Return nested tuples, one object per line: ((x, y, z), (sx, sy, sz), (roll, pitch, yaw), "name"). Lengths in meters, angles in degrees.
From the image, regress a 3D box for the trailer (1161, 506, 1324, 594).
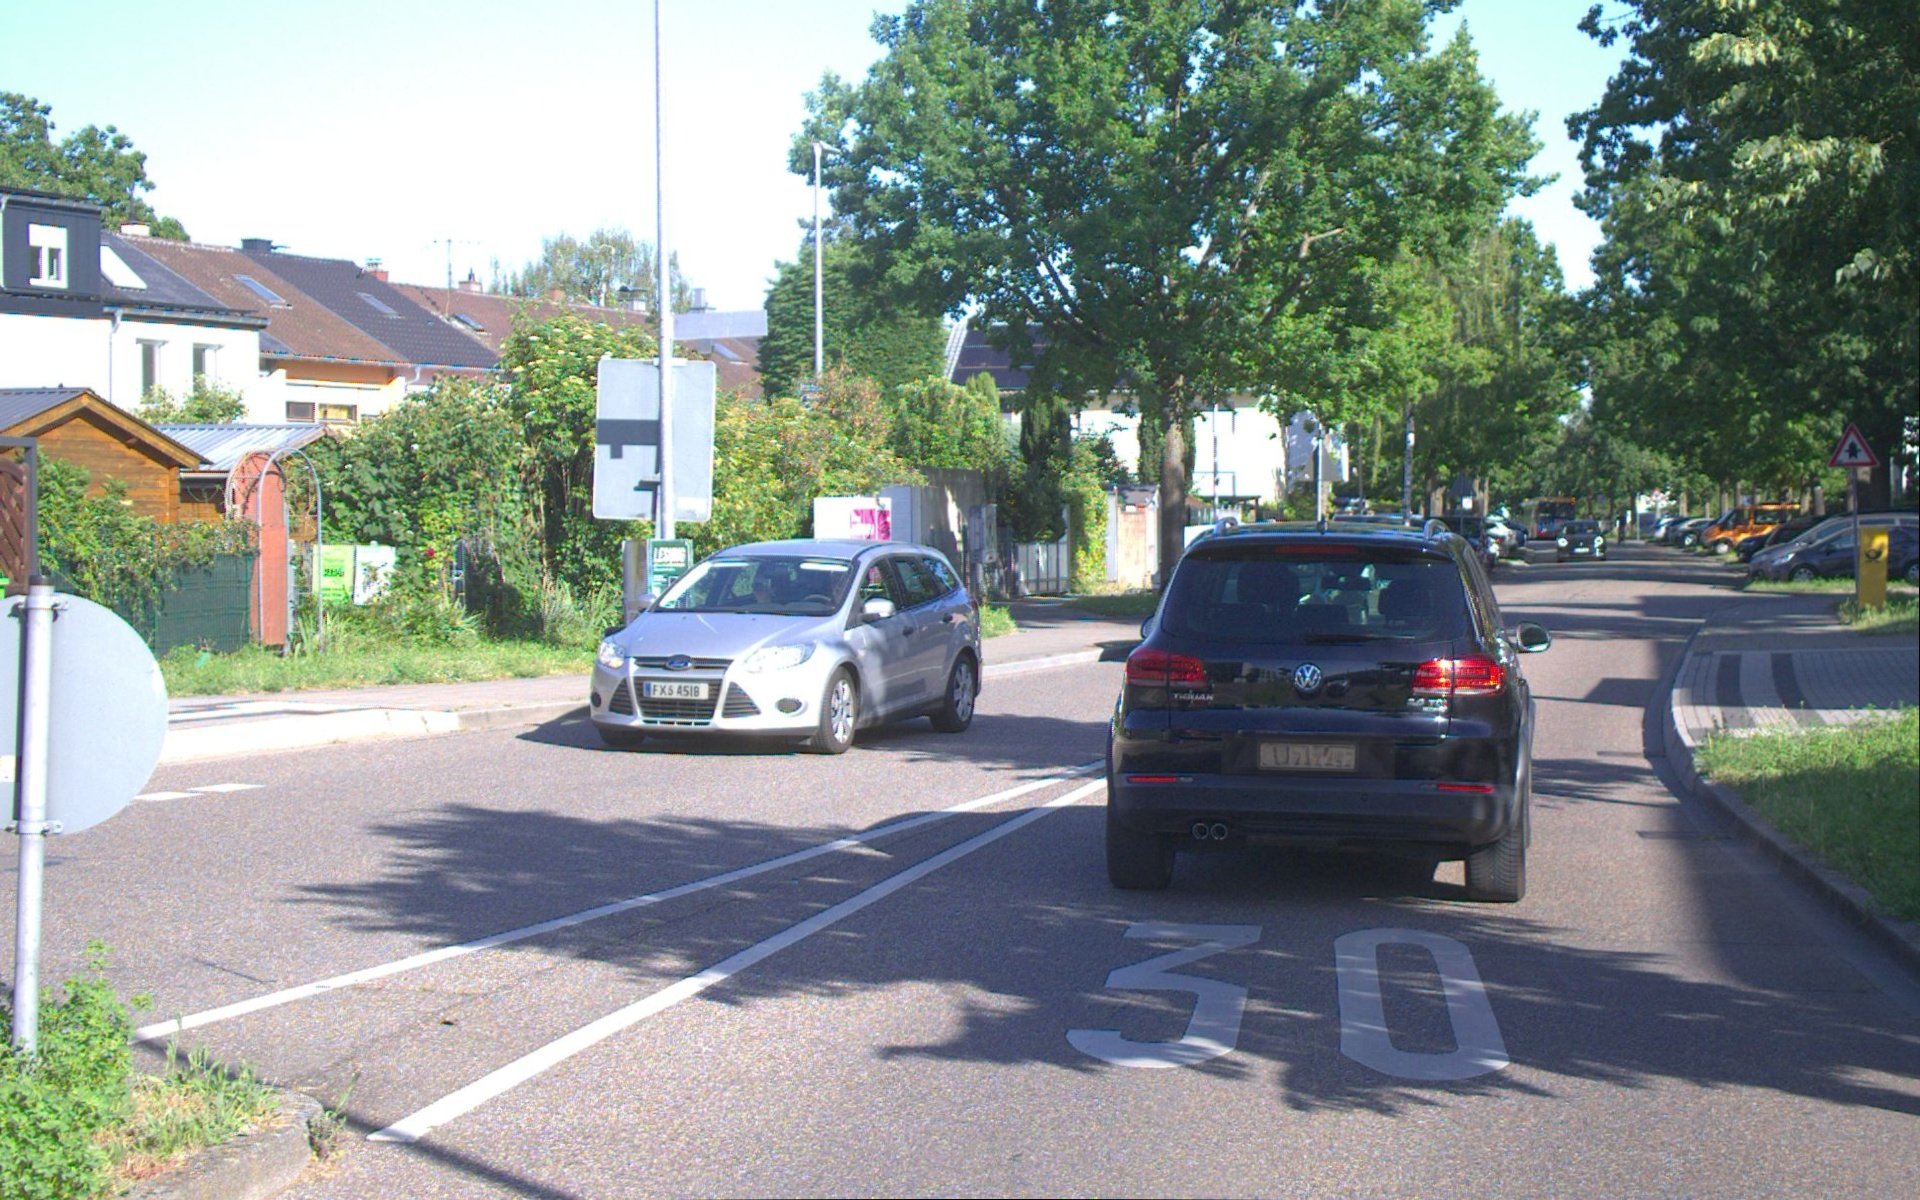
((5.373, -0.956, 65.278), (2.968, 1.650, 1.396), (0, 1, 9), "trailer")

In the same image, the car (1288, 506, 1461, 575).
((10.201, -1.475, 84.510), (3.989, 1.664, 1.999), (0, 1, 14), "car")

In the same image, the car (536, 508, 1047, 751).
((-1.104, 0.149, 25.163), (2.211, 1.585, 4.530), (1, 1, 19), "car")

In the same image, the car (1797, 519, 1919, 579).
((21.509, -1.194, 79.854), (3.989, 1.364, 1.846), (0, 1, 13), "car")

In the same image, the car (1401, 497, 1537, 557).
((16.798, -2.416, 113.405), (4.391, 1.932, 1.578), (0, 0, 9), "car")

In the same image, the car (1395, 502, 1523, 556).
((16.120, -2.291, 111.028), (3.989, 1.714, 1.820), (0, 0, 12), "car")

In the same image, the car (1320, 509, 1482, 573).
((11.512, -1.550, 89.685), (3.989, 1.634, 1.999), (0, 2, 14), "car")

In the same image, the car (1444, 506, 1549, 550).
((21.201, -2.844, 135.964), (3.987, 1.678, 1.923), (0, 1, 5), "car")

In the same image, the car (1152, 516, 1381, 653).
((3.595, -0.224, 39.651), (1.995, 1.438, 4.448), (2, 2, 13), "car")

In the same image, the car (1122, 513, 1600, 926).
((1.994, 0.431, 16.501), (1.930, 1.648, 4.513), (2, 2, 9), "car")

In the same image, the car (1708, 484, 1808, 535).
((32.778, -3.705, 141.213), (3.989, 2.007, 1.999), (0, -1, 14), "car")

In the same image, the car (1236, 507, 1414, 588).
((7.432, -1.077, 69.968), (3.550, 1.608, 1.852), (0, 1, 7), "car")

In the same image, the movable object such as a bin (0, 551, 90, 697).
((-6.548, 0.160, 24.143), (0.593, 0.964, 0.558), (5, 3, 17), "movable object such as a bin")
